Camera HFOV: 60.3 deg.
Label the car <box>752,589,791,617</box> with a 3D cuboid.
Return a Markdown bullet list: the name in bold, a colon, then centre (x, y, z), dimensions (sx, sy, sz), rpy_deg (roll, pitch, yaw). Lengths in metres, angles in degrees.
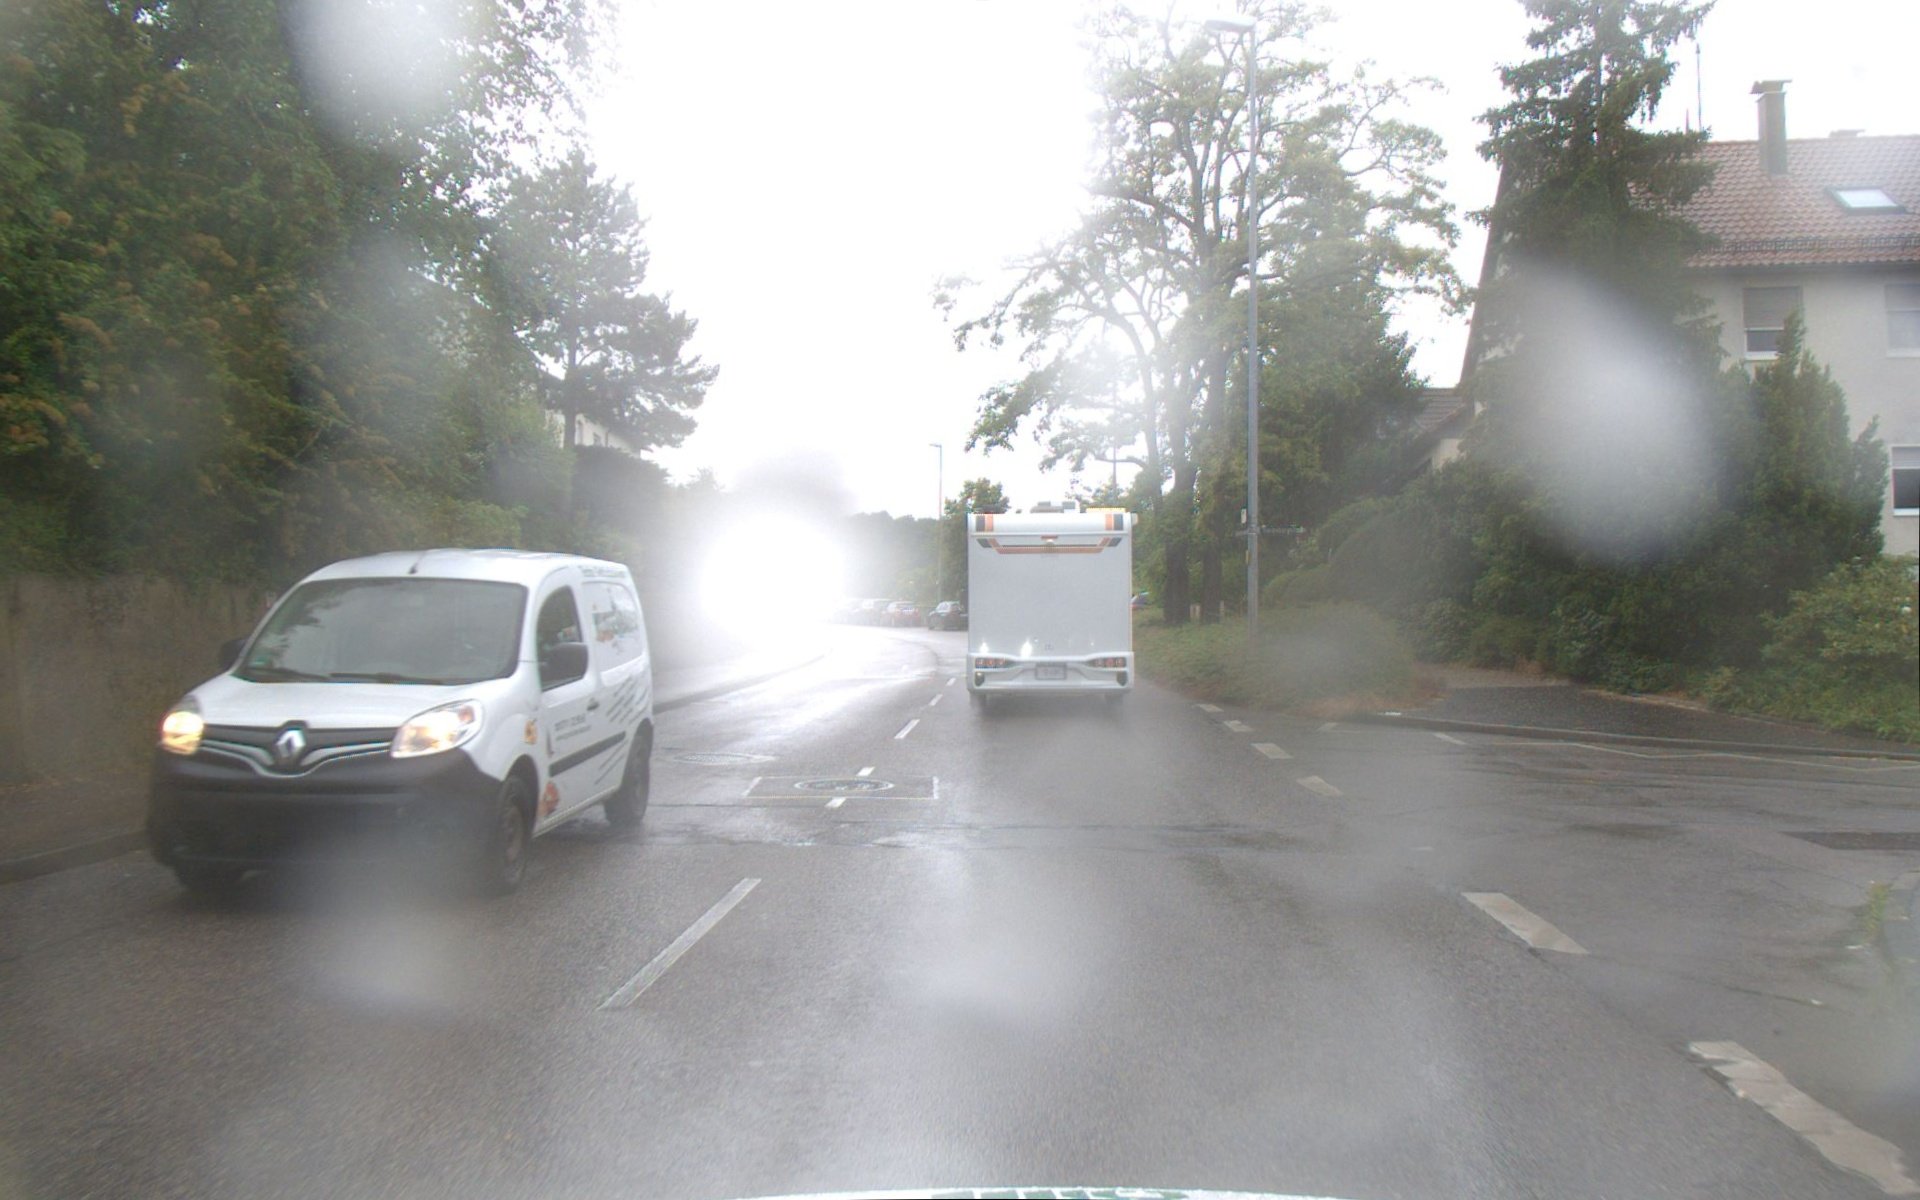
- **car**: centre (-14.817, 0.257, 129.699), dimensions (1.716, 2.080, 4.482), rpy_deg (4, -3, -23)

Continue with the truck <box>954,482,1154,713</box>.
- **truck**: centre (1.237, 0.102, 24.634), dimensions (2.464, 2.867, 6.200), rpy_deg (3, -3, 0)

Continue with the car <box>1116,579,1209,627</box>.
- **car**: centre (8.429, 0.128, 68.996), dimensions (3.551, 1.693, 1.999), rpy_deg (4, -3, -1)

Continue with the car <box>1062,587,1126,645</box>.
- **car**: centre (4.430, 0.554, 55.151), dimensions (1.952, 1.669, 4.001), rpy_deg (3, -3, 3)

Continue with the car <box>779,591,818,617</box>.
- **car**: centre (-11.595, 0.299, 118.651), dimensions (1.624, 1.751, 3.971), rpy_deg (4, -3, -23)

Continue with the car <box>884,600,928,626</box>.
- **car**: centre (-3.215, 0.793, 97.986), dimensions (1.517, 1.350, 3.843), rpy_deg (4, -3, -19)

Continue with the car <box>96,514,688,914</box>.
- **car**: centre (-2.999, 0.529, 9.876), dimensions (1.802, 1.786, 4.422), rpy_deg (2, 0, 2)

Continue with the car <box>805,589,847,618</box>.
- **car**: centre (-9.175, 0.261, 113.020), dimensions (1.624, 1.751, 3.971), rpy_deg (4, -3, -23)

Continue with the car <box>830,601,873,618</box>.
- **car**: centre (-7.109, 0.617, 108.059), dimensions (1.623, 1.120, 3.972), rpy_deg (1, 0, -23)

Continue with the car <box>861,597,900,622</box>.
- **car**: centre (-4.942, 0.622, 102.703), dimensions (1.515, 1.350, 3.983), rpy_deg (4, -3, -15)
